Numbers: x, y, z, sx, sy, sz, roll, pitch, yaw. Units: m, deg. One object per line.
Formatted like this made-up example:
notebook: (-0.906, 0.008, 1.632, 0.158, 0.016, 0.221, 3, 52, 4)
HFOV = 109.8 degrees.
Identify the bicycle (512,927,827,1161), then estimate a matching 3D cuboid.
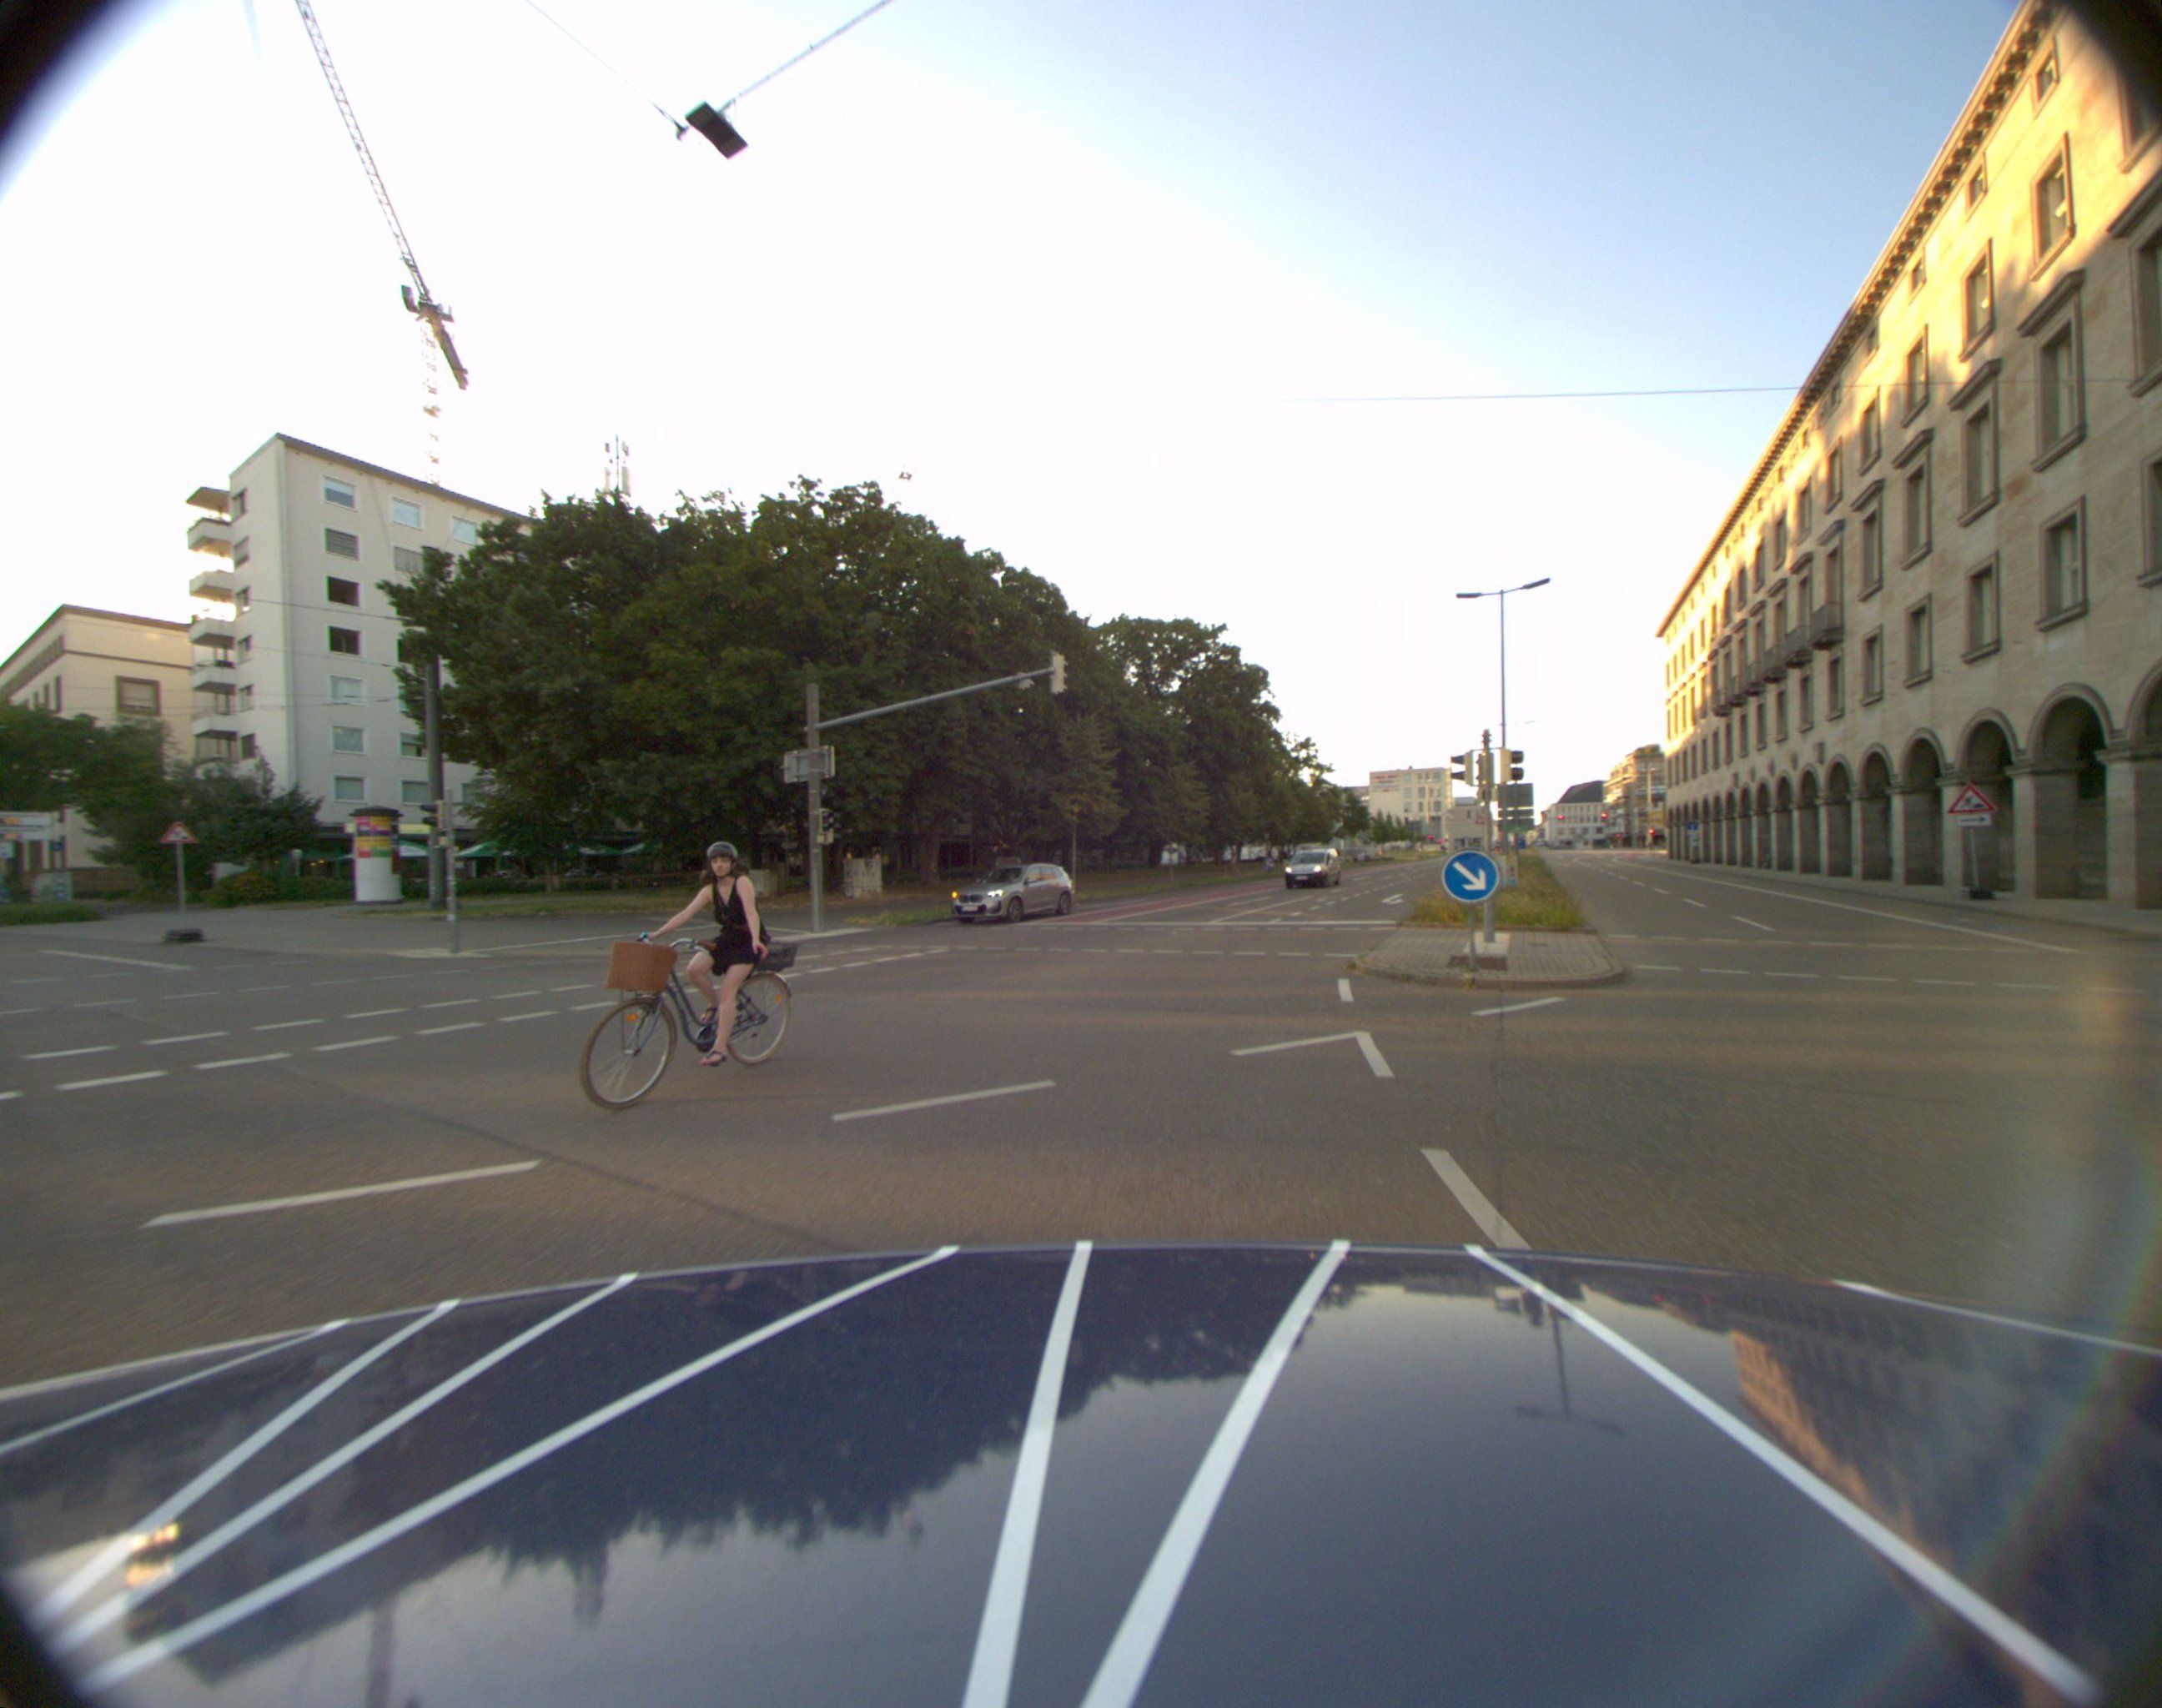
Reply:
bicycle: (-2.727, 1.182, 5.387, 0.608, 1.108, 2.089, -1, 0, 18)

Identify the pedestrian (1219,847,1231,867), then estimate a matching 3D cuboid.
pedestrian: (11.253, 0.238, 59.347, 0.644, 1.585, 0.679, -1, 1, 33)

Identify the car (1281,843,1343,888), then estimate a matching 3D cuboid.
car: (10.660, 0.480, 34.917, 1.801, 1.900, 4.473, -1, 1, 29)

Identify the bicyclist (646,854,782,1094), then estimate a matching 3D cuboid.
bicyclist: (-2.655, 0.822, 5.534, 0.609, 1.626, 0.598, -1, 1, 18)

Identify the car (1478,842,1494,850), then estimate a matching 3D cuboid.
car: (110.658, -2.096, 207.549, 4.007, 2.000, 1.996, -1, -4, -34)

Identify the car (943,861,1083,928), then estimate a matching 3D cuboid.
car: (-1.852, 1.086, 22.145, 1.882, 1.654, 4.354, 0, 0, 30)

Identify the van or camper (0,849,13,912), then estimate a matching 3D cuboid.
van or camper: (-48.018, 1.165, 32.653, 4.697, 2.666, 2.116, -1, 1, 32)

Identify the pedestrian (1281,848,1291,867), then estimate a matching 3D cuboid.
pedestrian: (18.322, 0.292, 67.879, 0.630, 1.653, 0.647, 0, 1, 35)

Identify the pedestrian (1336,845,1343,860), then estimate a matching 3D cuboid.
pedestrian: (29.940, -0.193, 88.014, 0.631, 1.656, 0.647, -1, 1, 17)

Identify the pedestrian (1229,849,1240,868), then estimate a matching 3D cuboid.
pedestrian: (11.888, 0.365, 58.905, 0.675, 1.488, 0.647, 0, 1, 32)
